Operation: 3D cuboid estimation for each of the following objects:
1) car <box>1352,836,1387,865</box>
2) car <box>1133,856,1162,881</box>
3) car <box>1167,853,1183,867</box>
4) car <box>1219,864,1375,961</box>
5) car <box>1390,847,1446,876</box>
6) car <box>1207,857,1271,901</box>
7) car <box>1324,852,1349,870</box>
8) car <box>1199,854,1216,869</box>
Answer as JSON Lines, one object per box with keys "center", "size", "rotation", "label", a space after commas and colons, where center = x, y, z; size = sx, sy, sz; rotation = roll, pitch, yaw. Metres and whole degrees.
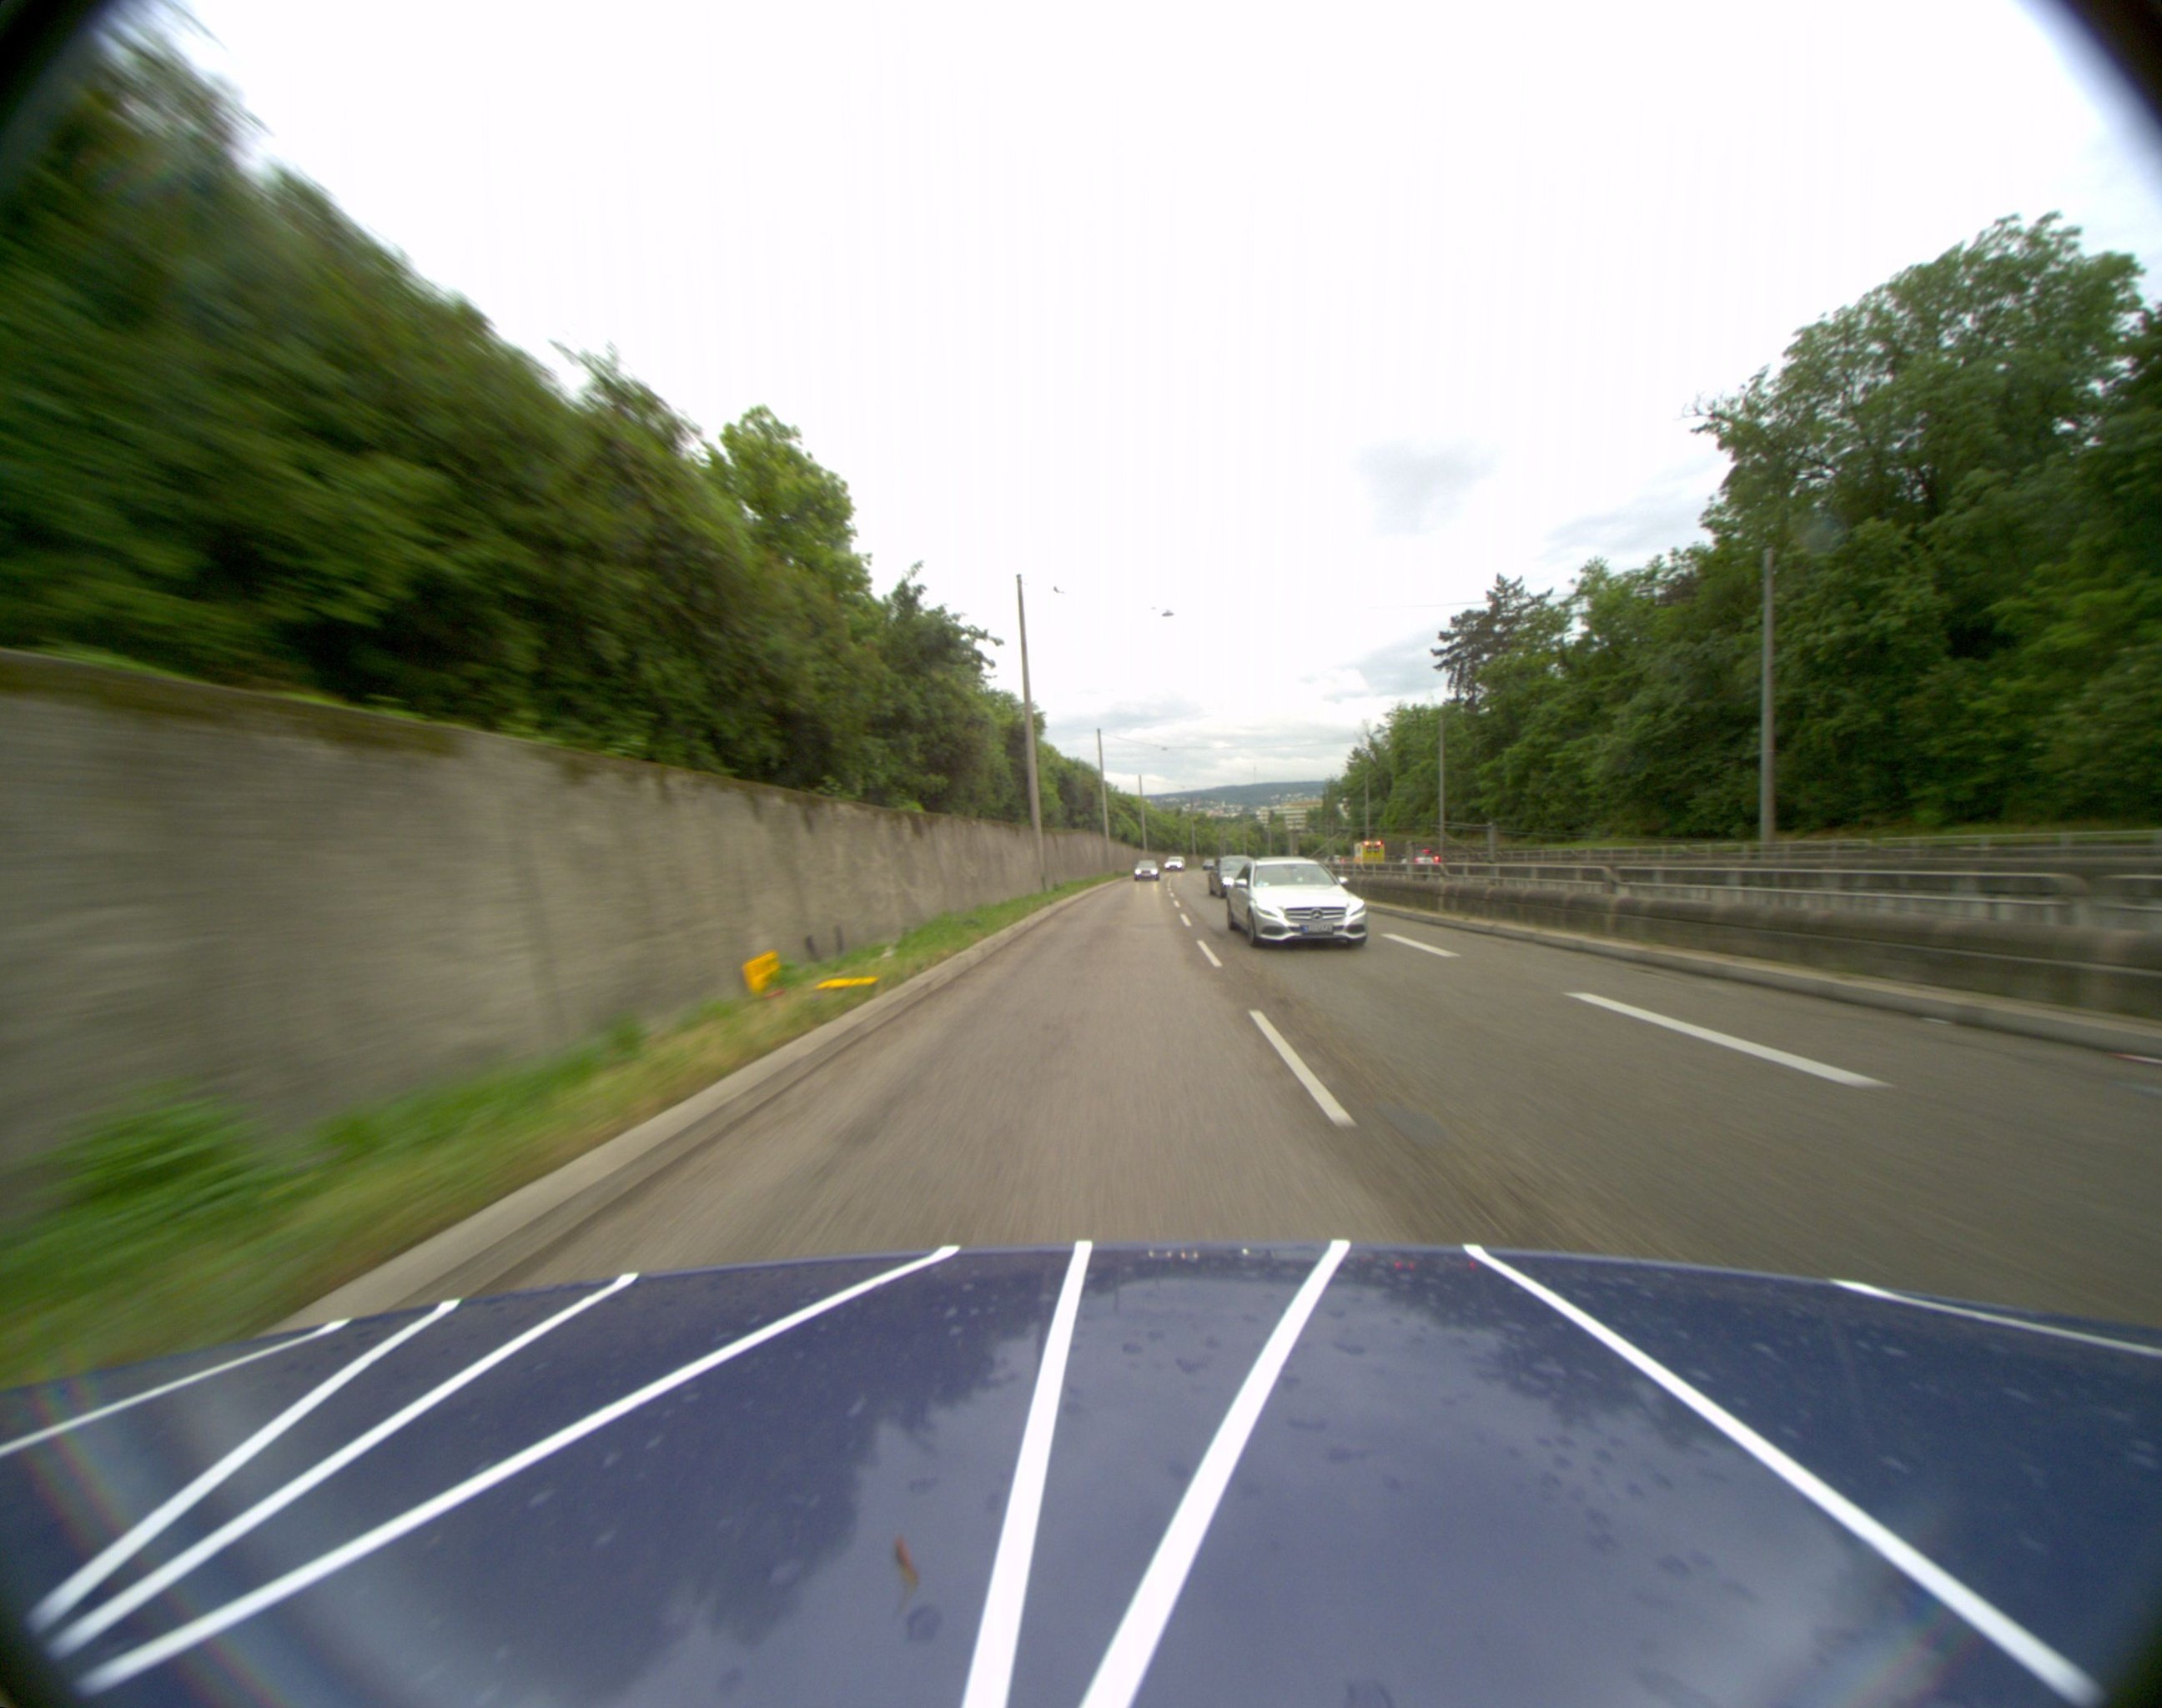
{"center": [28.455, -0.326, 75.146], "size": [2.186, 2.718, 6.350], "rotation": [0, 0, 11], "label": "car"}
{"center": [4.721, 1.007, 53.542], "size": [1.809, 1.501, 4.001], "rotation": [-3, 1, 7], "label": "car"}
{"center": [12.024, 0.770, 97.269], "size": [1.809, 1.501, 4.001], "rotation": [-3, 1, 8], "label": "car"}
{"center": [3.658, 0.921, 13.650], "size": [1.860, 1.395, 4.316], "rotation": [-1, 0, 4], "label": "car"}
{"center": [21.607, 0.447, 48.851], "size": [1.965, 1.739, 4.142], "rotation": [0, 0, 3], "label": "car"}
{"center": [5.610, 0.849, 27.438], "size": [1.729, 1.462, 3.889], "rotation": [-1, 0, 4], "label": "car"}
{"center": [25.688, 0.670, 76.448], "size": [1.820, 1.694, 4.114], "rotation": [0, 0, 11], "label": "car"}
{"center": [17.736, 1.046, 106.317], "size": [1.996, 2.002, 4.499], "rotation": [0, 0, 14], "label": "car"}
